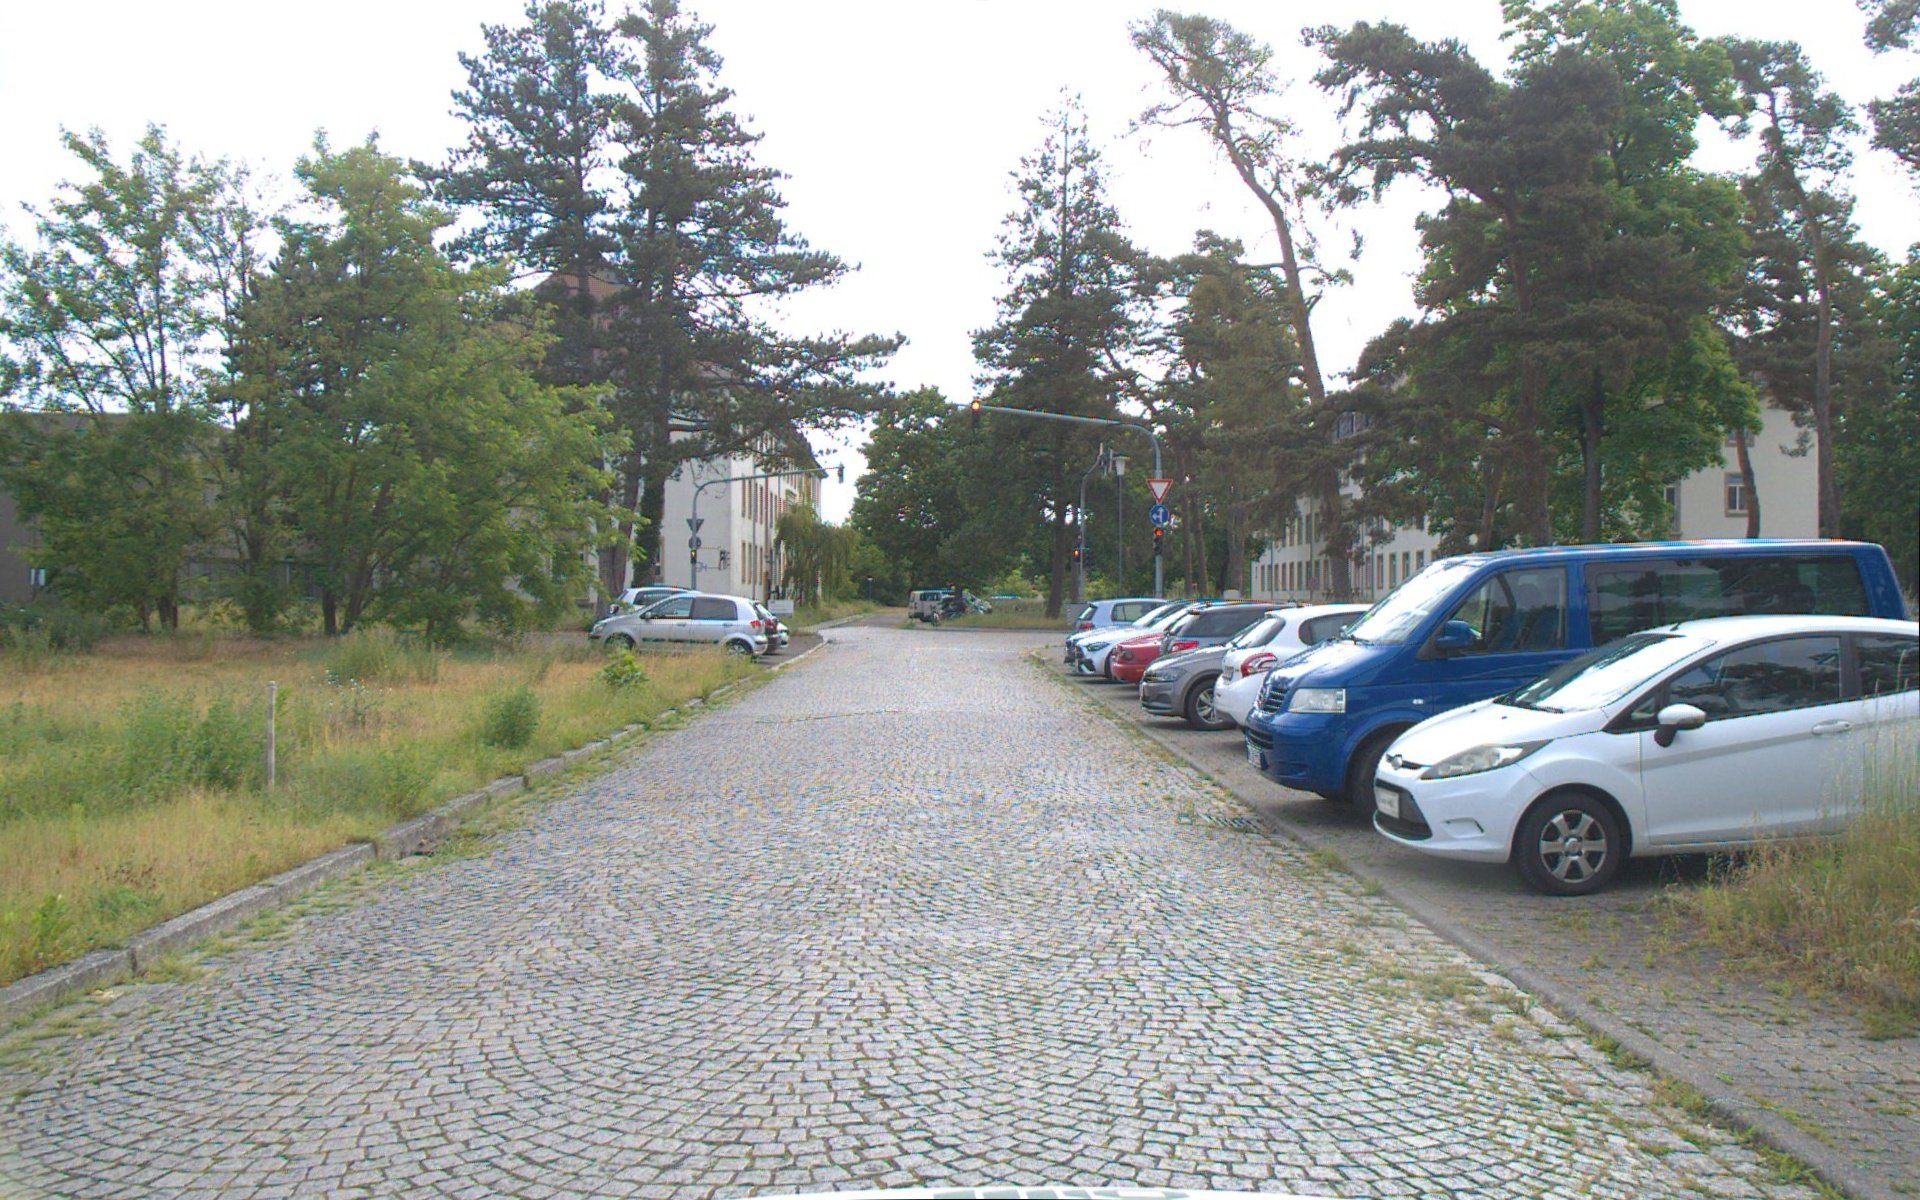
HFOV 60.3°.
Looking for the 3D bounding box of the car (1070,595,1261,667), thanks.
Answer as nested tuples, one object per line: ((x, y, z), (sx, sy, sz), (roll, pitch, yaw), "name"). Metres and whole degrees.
((4.473, 0.663, 36.274), (3.891, 1.446, 1.618), (-1, 0, -6), "car")

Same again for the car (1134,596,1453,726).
((4.072, 0.729, 20.526), (3.599, 1.475, 1.523), (-1, 0, -3), "car")

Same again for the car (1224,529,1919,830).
((4.511, 0.543, 12.479), (4.659, 1.989, 1.930), (-1, 0, -3), "car")

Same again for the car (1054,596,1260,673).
((3.966, 0.684, 33.611), (3.891, 1.446, 1.618), (-1, 0, -6), "car")

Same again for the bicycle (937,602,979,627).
((-0.106, 0.759, 85.098), (2.095, 1.236, 0.621), (1, 0, -6), "bicycle")

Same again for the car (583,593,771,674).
((-5.925, 0.687, 34.962), (3.747, 1.600, 1.563), (-1, 0, -5), "car")

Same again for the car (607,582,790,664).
((-6.332, 0.555, 40.358), (4.176, 1.873, 1.743), (-1, 0, -2), "car")

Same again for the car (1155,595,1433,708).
((4.700, 0.711, 23.529), (3.599, 1.475, 1.523), (-1, 0, -3), "car")

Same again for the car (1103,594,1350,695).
((4.177, 0.684, 26.223), (3.599, 1.475, 1.523), (-1, 0, -3), "car")

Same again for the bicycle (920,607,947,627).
((-1.307, 0.842, 81.000), (0.613, 0.961, 1.647), (1, 0, -28), "bicycle")

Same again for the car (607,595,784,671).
((-5.931, 0.724, 37.379), (3.744, 1.600, 1.564), (-1, 0, -2), "car")

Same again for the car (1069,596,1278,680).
((3.938, 0.682, 30.755), (3.601, 1.446, 1.522), (-1, 0, -6), "car")

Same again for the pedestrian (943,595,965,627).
((-0.307, 0.547, 85.437), (1.013, 1.642, 0.756), (1, 0, -6), "pedestrian")

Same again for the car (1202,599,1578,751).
((4.542, 0.767, 17.757), (3.599, 1.475, 1.523), (-1, 0, -3), "car")

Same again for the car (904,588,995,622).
((-0.681, 0.314, 102.997), (5.347, 2.049, 2.263), (1, 0, -10), "car")

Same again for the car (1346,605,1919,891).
((4.322, 0.803, 9.880), (3.599, 1.475, 1.613), (-1, 0, -4), "car")

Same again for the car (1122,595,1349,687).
((4.710, 0.687, 28.520), (3.599, 1.475, 1.523), (-1, 0, -3), "car")
